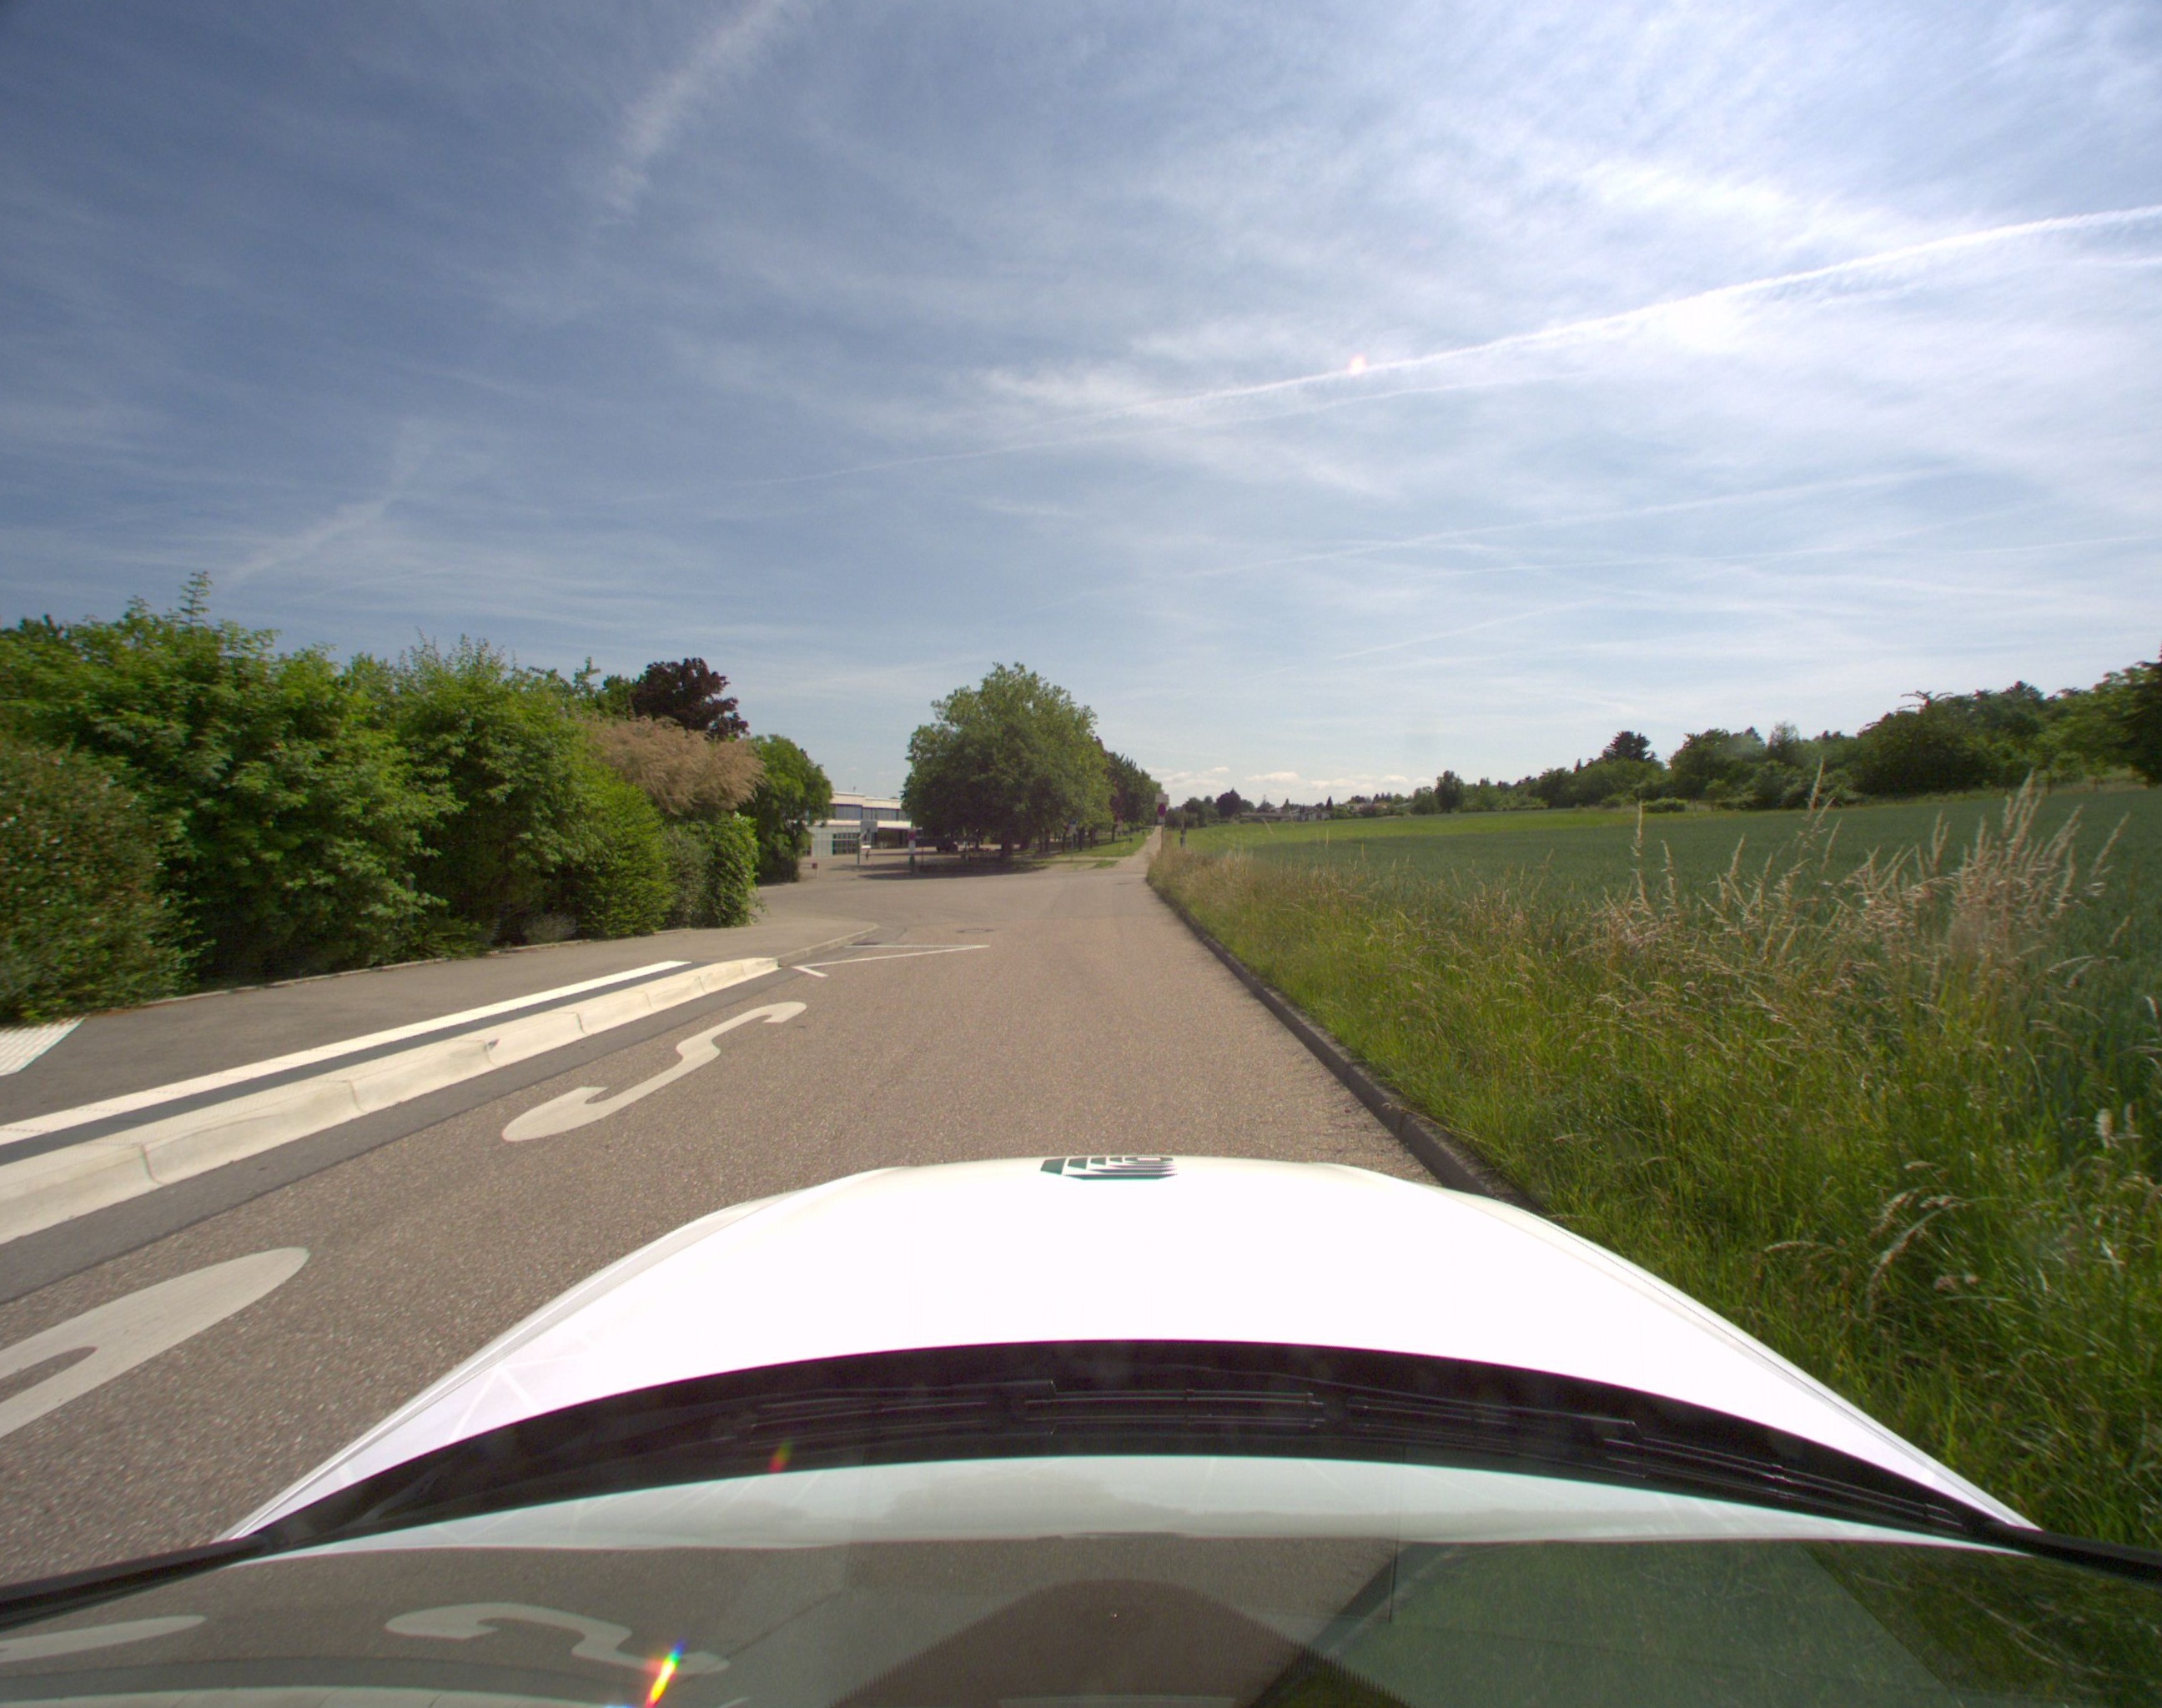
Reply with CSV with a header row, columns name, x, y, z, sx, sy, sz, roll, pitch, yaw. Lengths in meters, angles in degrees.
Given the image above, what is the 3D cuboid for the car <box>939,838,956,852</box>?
name,x,y,z,sx,sy,sz,roll,pitch,yaw
car,-18.412,-1.276,112.328,1.684,1.834,3.414,-1,1,3

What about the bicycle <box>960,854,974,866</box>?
name,x,y,z,sx,sy,sz,roll,pitch,yaw
bicycle,-10.249,0.508,73.003,0.590,1.039,1.900,-1,1,13

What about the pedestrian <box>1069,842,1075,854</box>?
name,x,y,z,sx,sy,sz,roll,pitch,yaw
pedestrian,-1.459,-0.990,131.429,0.686,2.013,0.796,-1,1,-28

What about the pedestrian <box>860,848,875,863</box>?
name,x,y,z,sx,sy,sz,roll,pitch,yaw
pedestrian,-20.426,0.098,77.958,1.057,1.423,0.924,0,1,20

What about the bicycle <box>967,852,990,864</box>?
name,x,y,z,sx,sy,sz,roll,pitch,yaw
bicycle,-9.404,0.330,74.784,2.057,1.039,0.571,-2,1,-3
